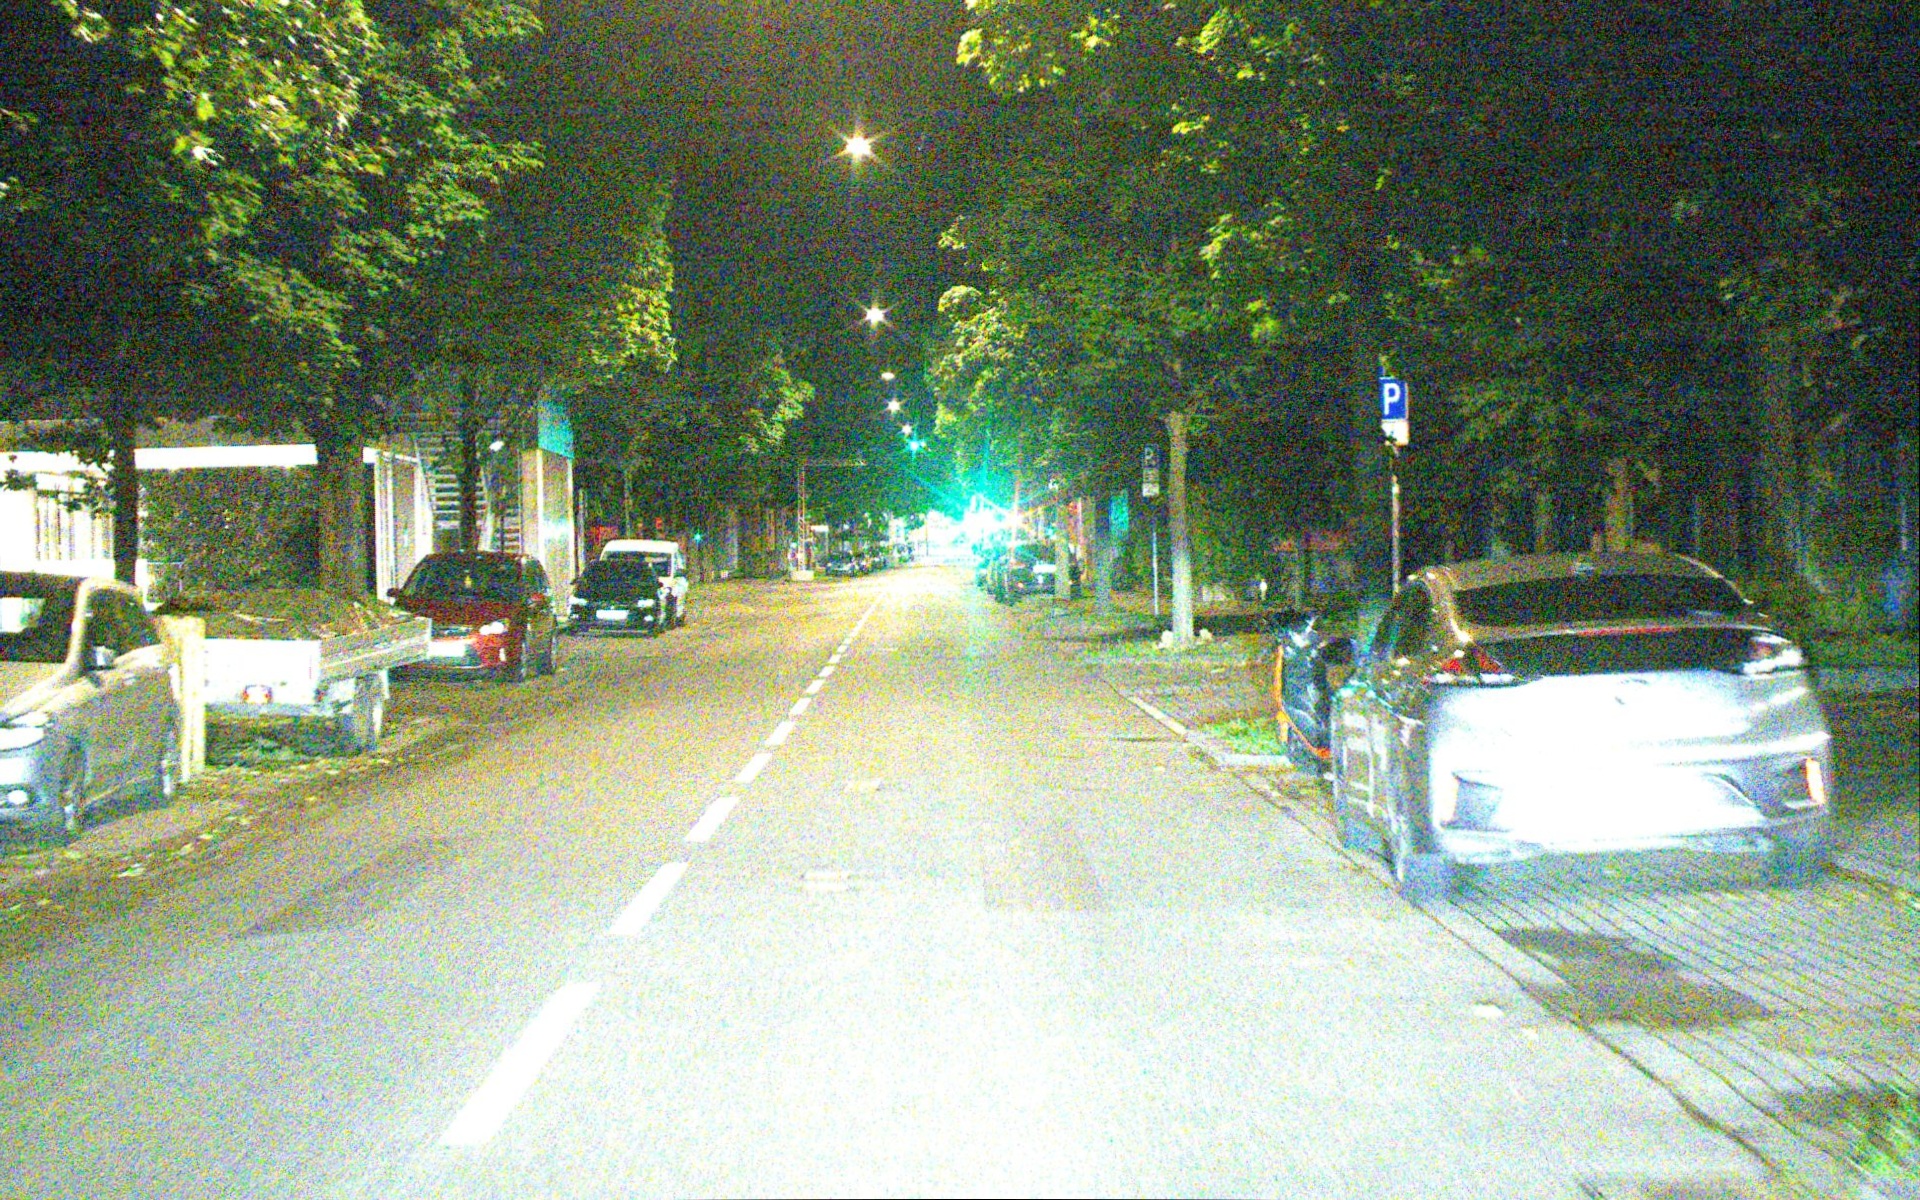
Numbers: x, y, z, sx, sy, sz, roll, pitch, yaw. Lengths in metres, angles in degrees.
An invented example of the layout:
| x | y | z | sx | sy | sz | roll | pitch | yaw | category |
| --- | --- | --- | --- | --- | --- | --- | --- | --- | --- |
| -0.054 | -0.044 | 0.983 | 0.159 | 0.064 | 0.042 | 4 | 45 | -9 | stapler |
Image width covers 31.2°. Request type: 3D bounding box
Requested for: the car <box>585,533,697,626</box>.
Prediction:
| x | y | z | sx | sy | sz | roll | pitch | yaw | category |
| --- | --- | --- | --- | --- | --- | --- | --- | --- | --- |
| -6.643 | -0.453 | 71.990 | 1.822 | 1.805 | 4.210 | 3 | 1 | 1 | car |

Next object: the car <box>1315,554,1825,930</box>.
| x | y | z | sx | sy | sz | roll | pitch | yaw | category |
| --- | --- | --- | --- | --- | --- | --- | --- | --- | --- |
| 2.661 | 0.544 | 15.866 | 1.668 | 1.424 | 4.148 | -3 | 1 | 2 | car |

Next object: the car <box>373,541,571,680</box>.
| x | y | z | sx | sy | sz | roll | pitch | yaw | category |
| --- | --- | --- | --- | --- | --- | --- | --- | --- | --- |
| -6.145 | 0.094 | 43.713 | 1.822 | 1.593 | 4.073 | 3 | 1 | 1 | car |

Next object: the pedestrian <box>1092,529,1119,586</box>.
| x | y | z | sx | sy | sz | roll | pitch | yaw | category |
| --- | --- | --- | --- | --- | --- | --- | --- | --- | --- |
| 4.454 | -1.293 | 105.268 | 0.705 | 1.716 | 0.821 | -2 | 1 | 0 | pedestrian |

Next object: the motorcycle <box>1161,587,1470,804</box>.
| x | y | z | sx | sy | sz | roll | pitch | yaw | category |
| --- | --- | --- | --- | --- | --- | --- | --- | --- | --- |
| 2.243 | 0.572 | 22.042 | 0.926 | 1.279 | 2.235 | -2 | 1 | -25 | motorcycle |

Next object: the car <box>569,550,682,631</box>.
| x | y | z | sx | sy | sz | roll | pitch | yaw | category |
| --- | --- | --- | --- | --- | --- | --- | --- | --- | --- |
| -6.384 | -0.205 | 65.924 | 1.700 | 1.428 | 3.828 | 3 | 1 | 0 | car |

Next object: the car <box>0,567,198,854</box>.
| x | y | z | sx | sy | sz | roll | pitch | yaw | category |
| --- | --- | --- | --- | --- | --- | --- | --- | --- | --- |
| -5.944 | 0.578 | 20.956 | 1.716 | 1.496 | 4.206 | 2 | 1 | -1 | car |

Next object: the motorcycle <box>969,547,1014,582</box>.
| x | y | z | sx | sy | sz | roll | pitch | yaw | category |
| --- | --- | --- | --- | --- | --- | --- | --- | --- | --- |
| 1.164 | -1.314 | 127.503 | 0.637 | 1.265 | 2.060 | 0 | 1 | 35 | motorcycle |

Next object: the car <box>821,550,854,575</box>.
| x | y | z | sx | sy | sz | roll | pitch | yaw | category |
| --- | --- | --- | --- | --- | --- | --- | --- | --- | --- |
| -6.891 | -2.119 | 194.436 | 1.740 | 1.411 | 3.752 | 0 | 1 | 0 | car |

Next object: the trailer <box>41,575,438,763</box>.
| x | y | z | sx | sy | sz | roll | pitch | yaw | category |
| --- | --- | --- | --- | --- | --- | --- | --- | --- | --- |
| -5.914 | 0.509 | 28.959 | 2.110 | 1.330 | 5.435 | 2 | 1 | 1 | trailer |

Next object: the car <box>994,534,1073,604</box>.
| x | y | z | sx | sy | sz | roll | pitch | yaw | category |
| --- | --- | --- | --- | --- | --- | --- | --- | --- | --- |
| 1.824 | -0.798 | 86.377 | 1.853 | 1.648 | 4.209 | -2 | 1 | 0 | car |

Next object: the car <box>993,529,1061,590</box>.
| x | y | z | sx | sy | sz | roll | pitch | yaw | category |
| --- | --- | --- | --- | --- | --- | --- | --- | --- | --- |
| 2.060 | -1.272 | 106.908 | 1.771 | 1.800 | 4.278 | -2 | 1 | -3 | car |
